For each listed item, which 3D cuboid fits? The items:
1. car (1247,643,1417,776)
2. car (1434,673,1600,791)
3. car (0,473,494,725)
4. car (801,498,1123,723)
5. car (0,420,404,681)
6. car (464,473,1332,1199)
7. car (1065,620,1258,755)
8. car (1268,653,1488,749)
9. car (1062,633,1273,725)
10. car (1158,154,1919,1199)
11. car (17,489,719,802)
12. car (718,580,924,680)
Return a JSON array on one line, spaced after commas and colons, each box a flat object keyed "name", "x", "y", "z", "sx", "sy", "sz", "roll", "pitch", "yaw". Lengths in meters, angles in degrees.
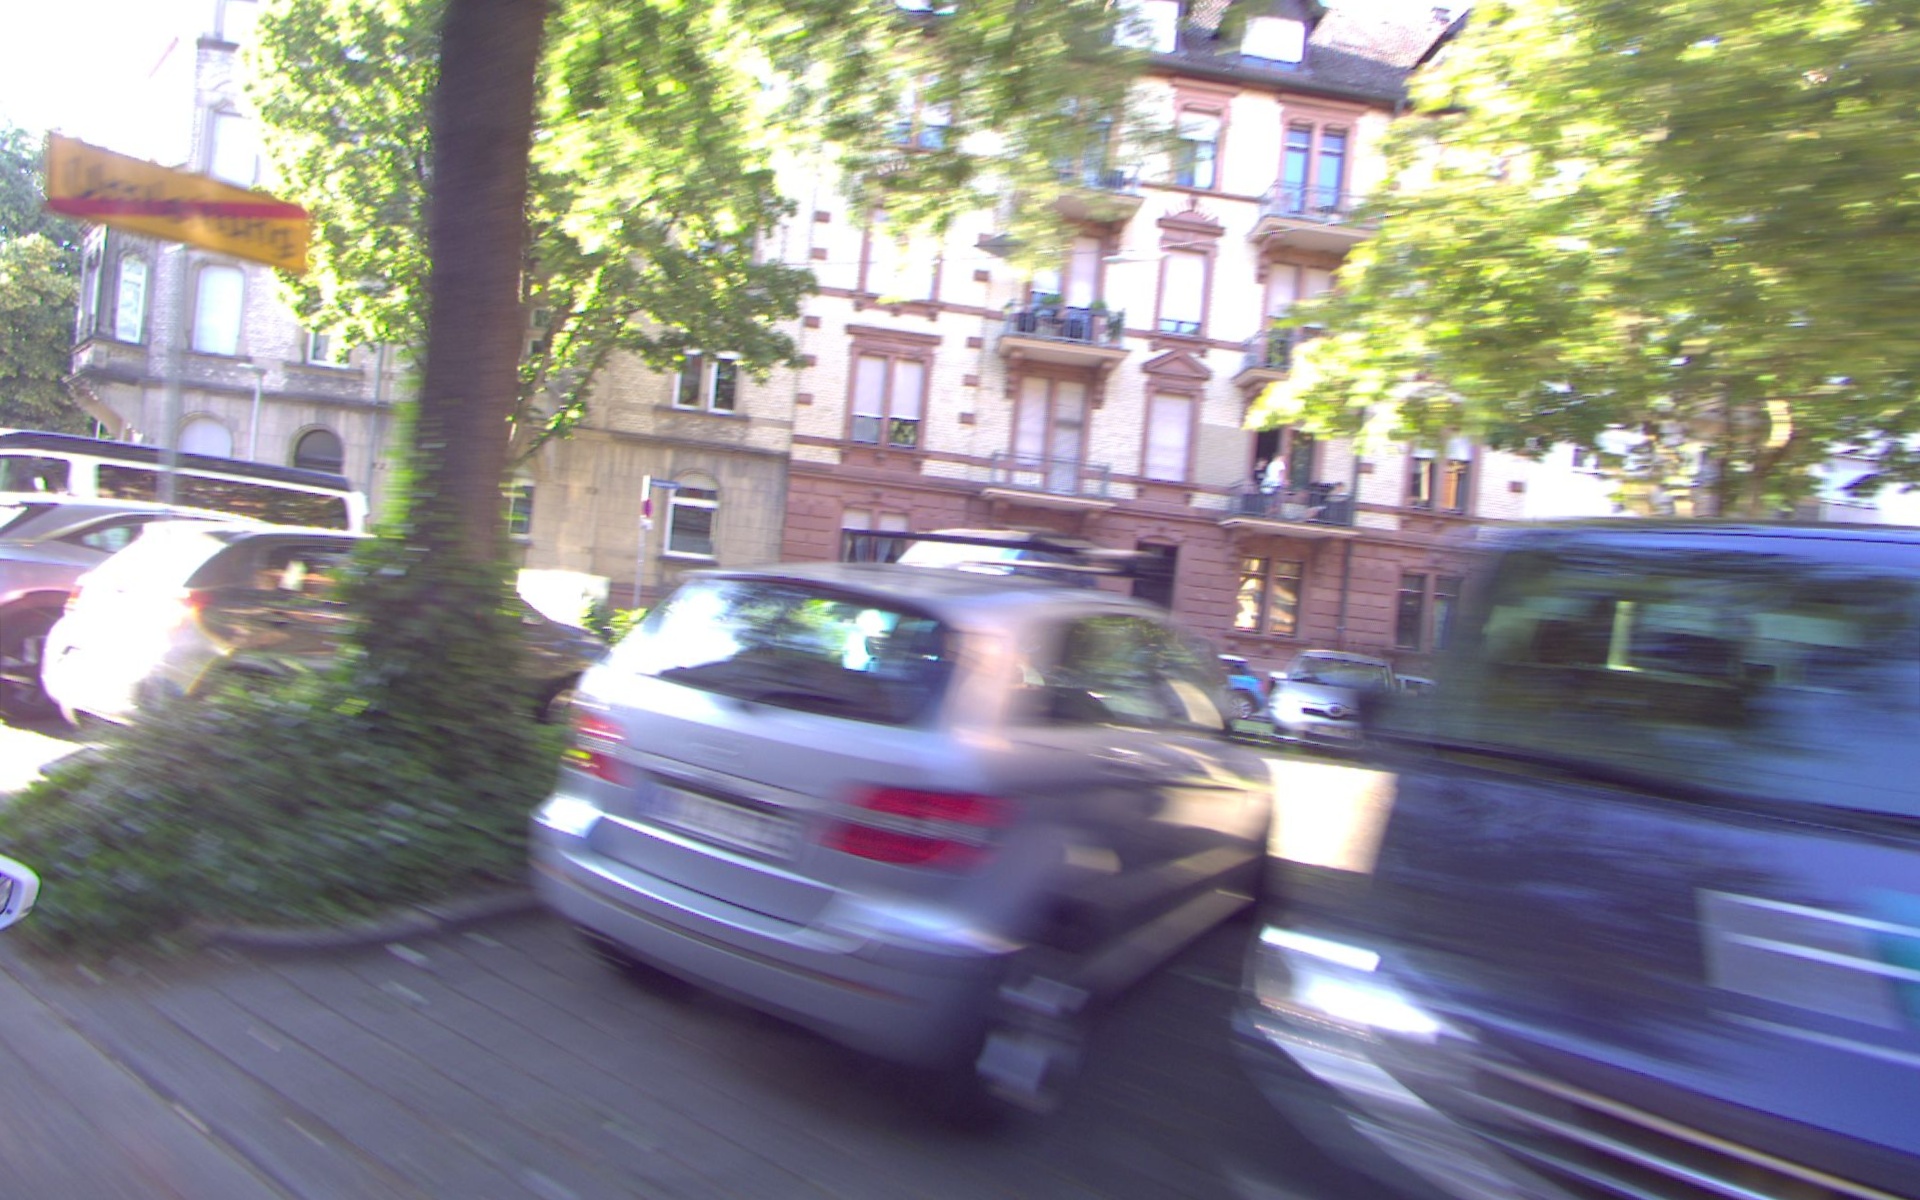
[{"name": "car", "x": 5.804, "y": 1.598, "z": 15.381, "sx": 1.831, "sy": 1.528, "sz": 4.064, "roll": 6, "pitch": -1, "yaw": 28}, {"name": "car", "x": 8.371, "y": 1.880, "z": 15.313, "sx": 1.831, "sy": 1.292, "sz": 4.063, "roll": 6, "pitch": -1, "yaw": 28}, {"name": "car", "x": -6.133, "y": 0.032, "z": 8.187, "sx": 1.712, "sy": 1.615, "sz": 3.846, "roll": 6, "pitch": -1, "yaw": 31}, {"name": "car", "x": 0.373, "y": 0.278, "z": 15.177, "sx": 2.338, "sy": 2.568, "sz": 5.910, "roll": 6, "pitch": -1, "yaw": 25}, {"name": "car", "x": -8.367, "y": -0.442, "z": 9.467, "sx": 2.071, "sy": 2.121, "sz": 4.980, "roll": 6, "pitch": -1, "yaw": 31}, {"name": "car", "x": 0.280, "y": 0.675, "z": 4.420, "sx": 1.770, "sy": 1.713, "sz": 3.993, "roll": 6, "pitch": -1, "yaw": 30}, {"name": "car", "x": 3.194, "y": 1.253, "z": 15.183, "sx": 1.880, "sy": 1.523, "sz": 4.305, "roll": 6, "pitch": -1, "yaw": 23}, {"name": "car", "x": 9.540, "y": 2.282, "z": 23.127, "sx": 4.170, "sy": 1.601, "sz": 1.866, "roll": 7, "pitch": -1, "yaw": -6}, {"name": "car", "x": 4.614, "y": 1.754, "z": 22.673, "sx": 4.170, "sy": 1.492, "sz": 1.866, "roll": 7, "pitch": -1, "yaw": -6}, {"name": "car", "x": 2.268, "y": 0.731, "z": 2.932, "sx": 1.966, "sy": 2.038, "sz": 4.623, "roll": 6, "pitch": -1, "yaw": 29}, {"name": "car", "x": -3.841, "y": 0.319, "z": 7.213, "sx": 1.817, "sy": 1.534, "sz": 3.846, "roll": 6, "pitch": -1, "yaw": 31}, {"name": "car", "x": -2.953, "y": 0.647, "z": 21.978, "sx": 4.142, "sy": 1.630, "sz": 1.780, "roll": 7, "pitch": 0, "yaw": -4}]
